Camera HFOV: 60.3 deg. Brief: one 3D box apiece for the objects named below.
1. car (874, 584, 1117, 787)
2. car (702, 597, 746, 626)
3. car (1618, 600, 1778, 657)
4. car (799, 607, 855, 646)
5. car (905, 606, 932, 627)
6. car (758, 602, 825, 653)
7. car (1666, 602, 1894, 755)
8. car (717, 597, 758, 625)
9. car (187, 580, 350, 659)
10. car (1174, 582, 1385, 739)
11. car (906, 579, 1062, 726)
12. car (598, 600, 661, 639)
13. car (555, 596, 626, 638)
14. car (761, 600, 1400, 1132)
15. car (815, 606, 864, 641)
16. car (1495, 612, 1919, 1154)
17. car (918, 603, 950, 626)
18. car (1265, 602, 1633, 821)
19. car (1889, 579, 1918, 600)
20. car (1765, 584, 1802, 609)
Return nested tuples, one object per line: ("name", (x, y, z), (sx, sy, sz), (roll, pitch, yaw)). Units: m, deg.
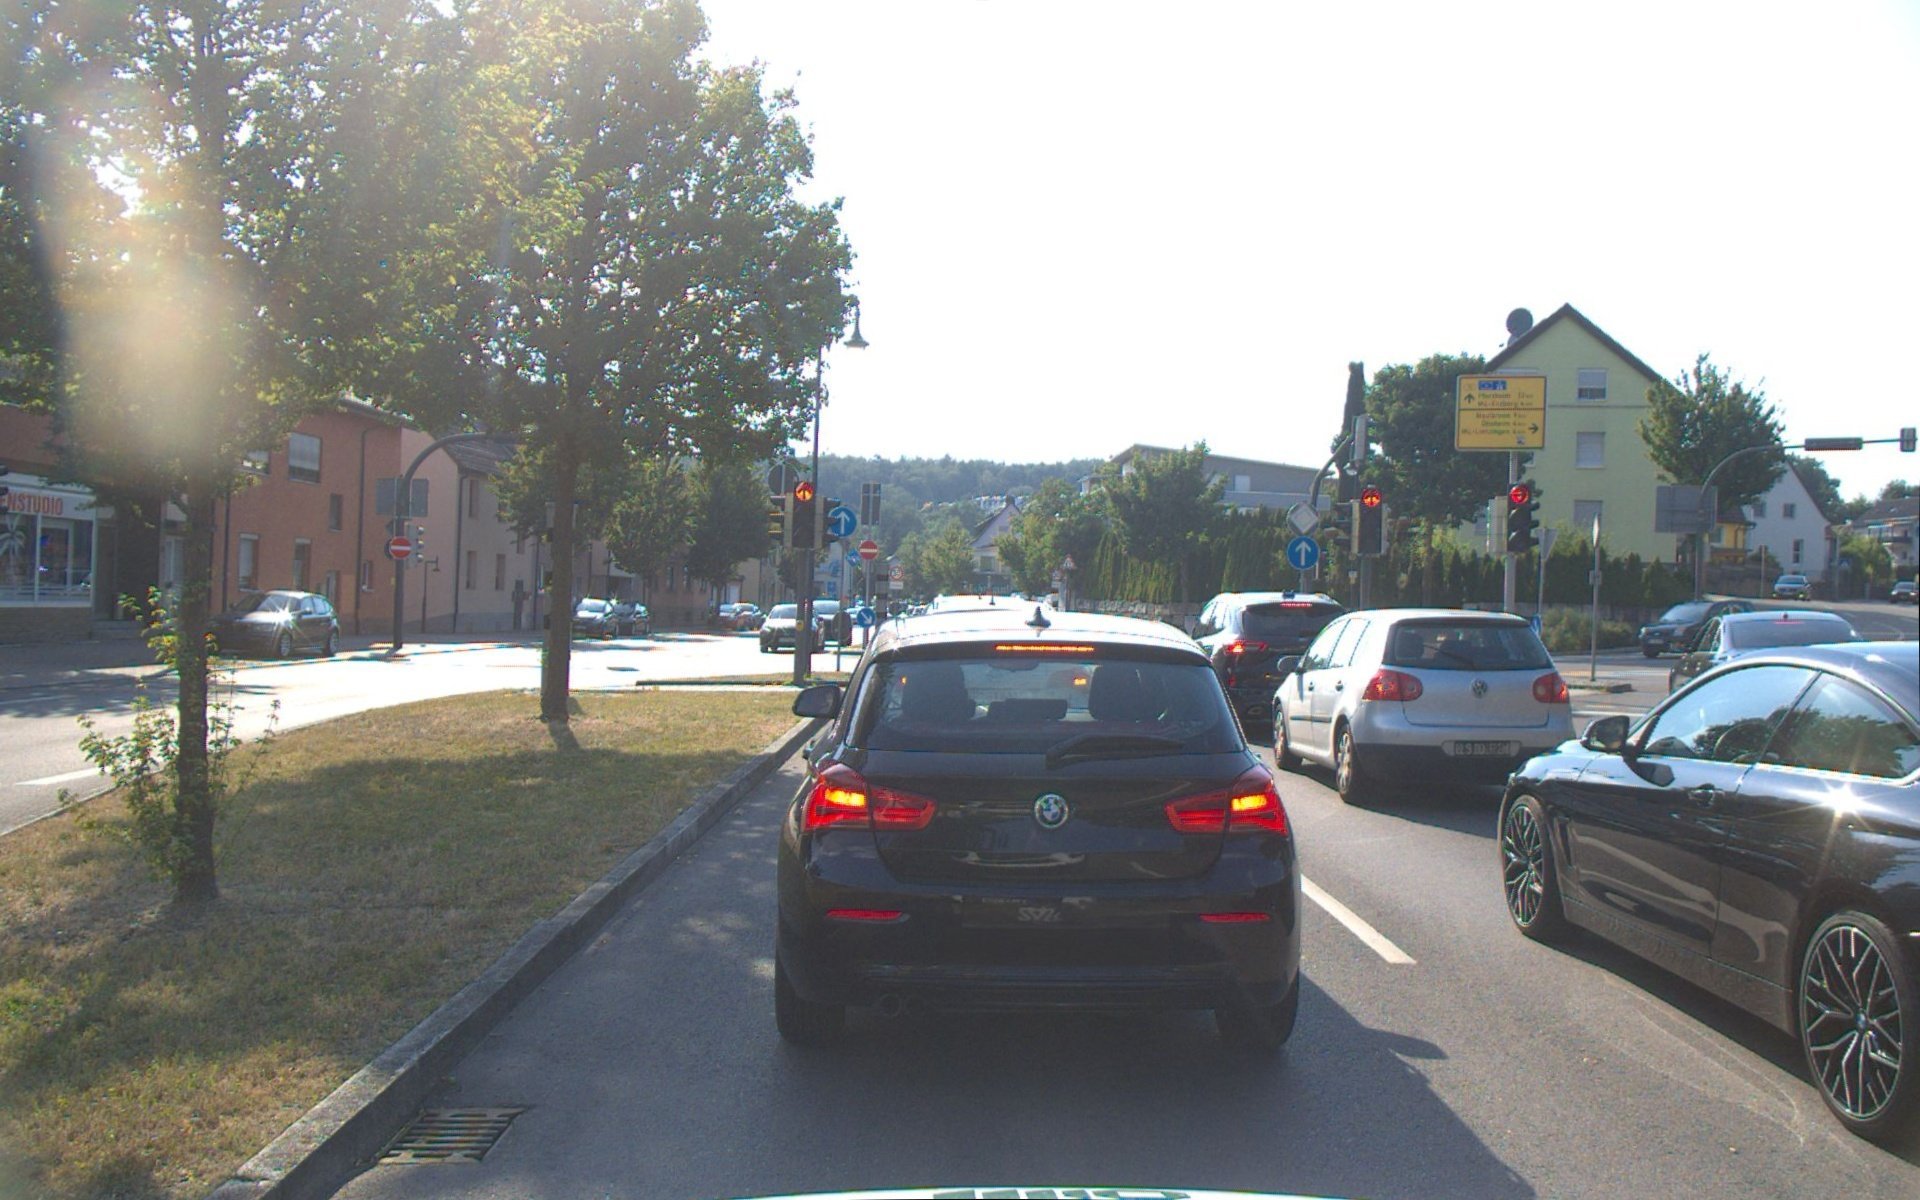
("car", (0.291, 0.630, 14.390), (1.779, 1.476, 4.242), (1, 0, 1))
("car", (-13.812, 0.673, 97.073), (1.884, 1.624, 4.000), (1, 0, 1))
("car", (20.893, 0.807, 46.842), (3.994, 1.533, 1.783), (1, 0, -19))
("car", (-4.930, 0.966, 61.600), (1.658, 1.377, 4.000), (1, 0, 1))
("car", (-3.500, 1.386, 138.750), (1.854, 1.732, 4.518), (0, 0, -6))
("car", (-5.189, 0.835, 51.376), (1.731, 1.484, 3.999), (1, 0, -1))
("car", (9.023, 0.772, 18.536), (1.646, 1.460, 4.591), (1, 0, 18))
("car", (-13.766, 0.663, 102.579), (1.884, 1.624, 4.000), (1, 0, 1))
("car", (-15.532, 0.420, 37.363), (1.805, 1.579, 4.001), (3, 0, 2))
("car", (3.777, 0.662, 20.278), (1.779, 1.695, 4.347), (1, 0, 1))
("car", (0.305, 0.603, 21.167), (1.779, 1.670, 4.242), (1, 0, 1))
("car", (-14.485, 0.846, 72.681), (1.884, 1.624, 4.000), (1, 0, 1))
("car", (-14.902, 0.672, 66.924), (1.884, 1.624, 4.000), (1, 0, 1))
("car", (0.363, 0.737, 6.761), (1.754, 1.439, 4.347), (1, 0, 1))
("car", (-4.998, 0.950, 69.127), (1.658, 1.377, 4.000), (1, 0, 1))
("car", (3.480, 0.783, 5.897), (1.779, 1.413, 4.347), (1, 0, 1))
("car", (-1.892, 1.024, 117.455), (1.826, 1.511, 4.652), (1, 0, -6))
("car", (3.784, 0.774, 13.610), (1.779, 1.471, 4.347), (1, 0, 1))
("car", (74.616, -0.799, 130.780), (1.745, 1.607, 3.987), (1, 0, 34))
("car", (44.451, -0.213, 89.231), (1.678, 1.266, 3.995), (1, 1, 28))
